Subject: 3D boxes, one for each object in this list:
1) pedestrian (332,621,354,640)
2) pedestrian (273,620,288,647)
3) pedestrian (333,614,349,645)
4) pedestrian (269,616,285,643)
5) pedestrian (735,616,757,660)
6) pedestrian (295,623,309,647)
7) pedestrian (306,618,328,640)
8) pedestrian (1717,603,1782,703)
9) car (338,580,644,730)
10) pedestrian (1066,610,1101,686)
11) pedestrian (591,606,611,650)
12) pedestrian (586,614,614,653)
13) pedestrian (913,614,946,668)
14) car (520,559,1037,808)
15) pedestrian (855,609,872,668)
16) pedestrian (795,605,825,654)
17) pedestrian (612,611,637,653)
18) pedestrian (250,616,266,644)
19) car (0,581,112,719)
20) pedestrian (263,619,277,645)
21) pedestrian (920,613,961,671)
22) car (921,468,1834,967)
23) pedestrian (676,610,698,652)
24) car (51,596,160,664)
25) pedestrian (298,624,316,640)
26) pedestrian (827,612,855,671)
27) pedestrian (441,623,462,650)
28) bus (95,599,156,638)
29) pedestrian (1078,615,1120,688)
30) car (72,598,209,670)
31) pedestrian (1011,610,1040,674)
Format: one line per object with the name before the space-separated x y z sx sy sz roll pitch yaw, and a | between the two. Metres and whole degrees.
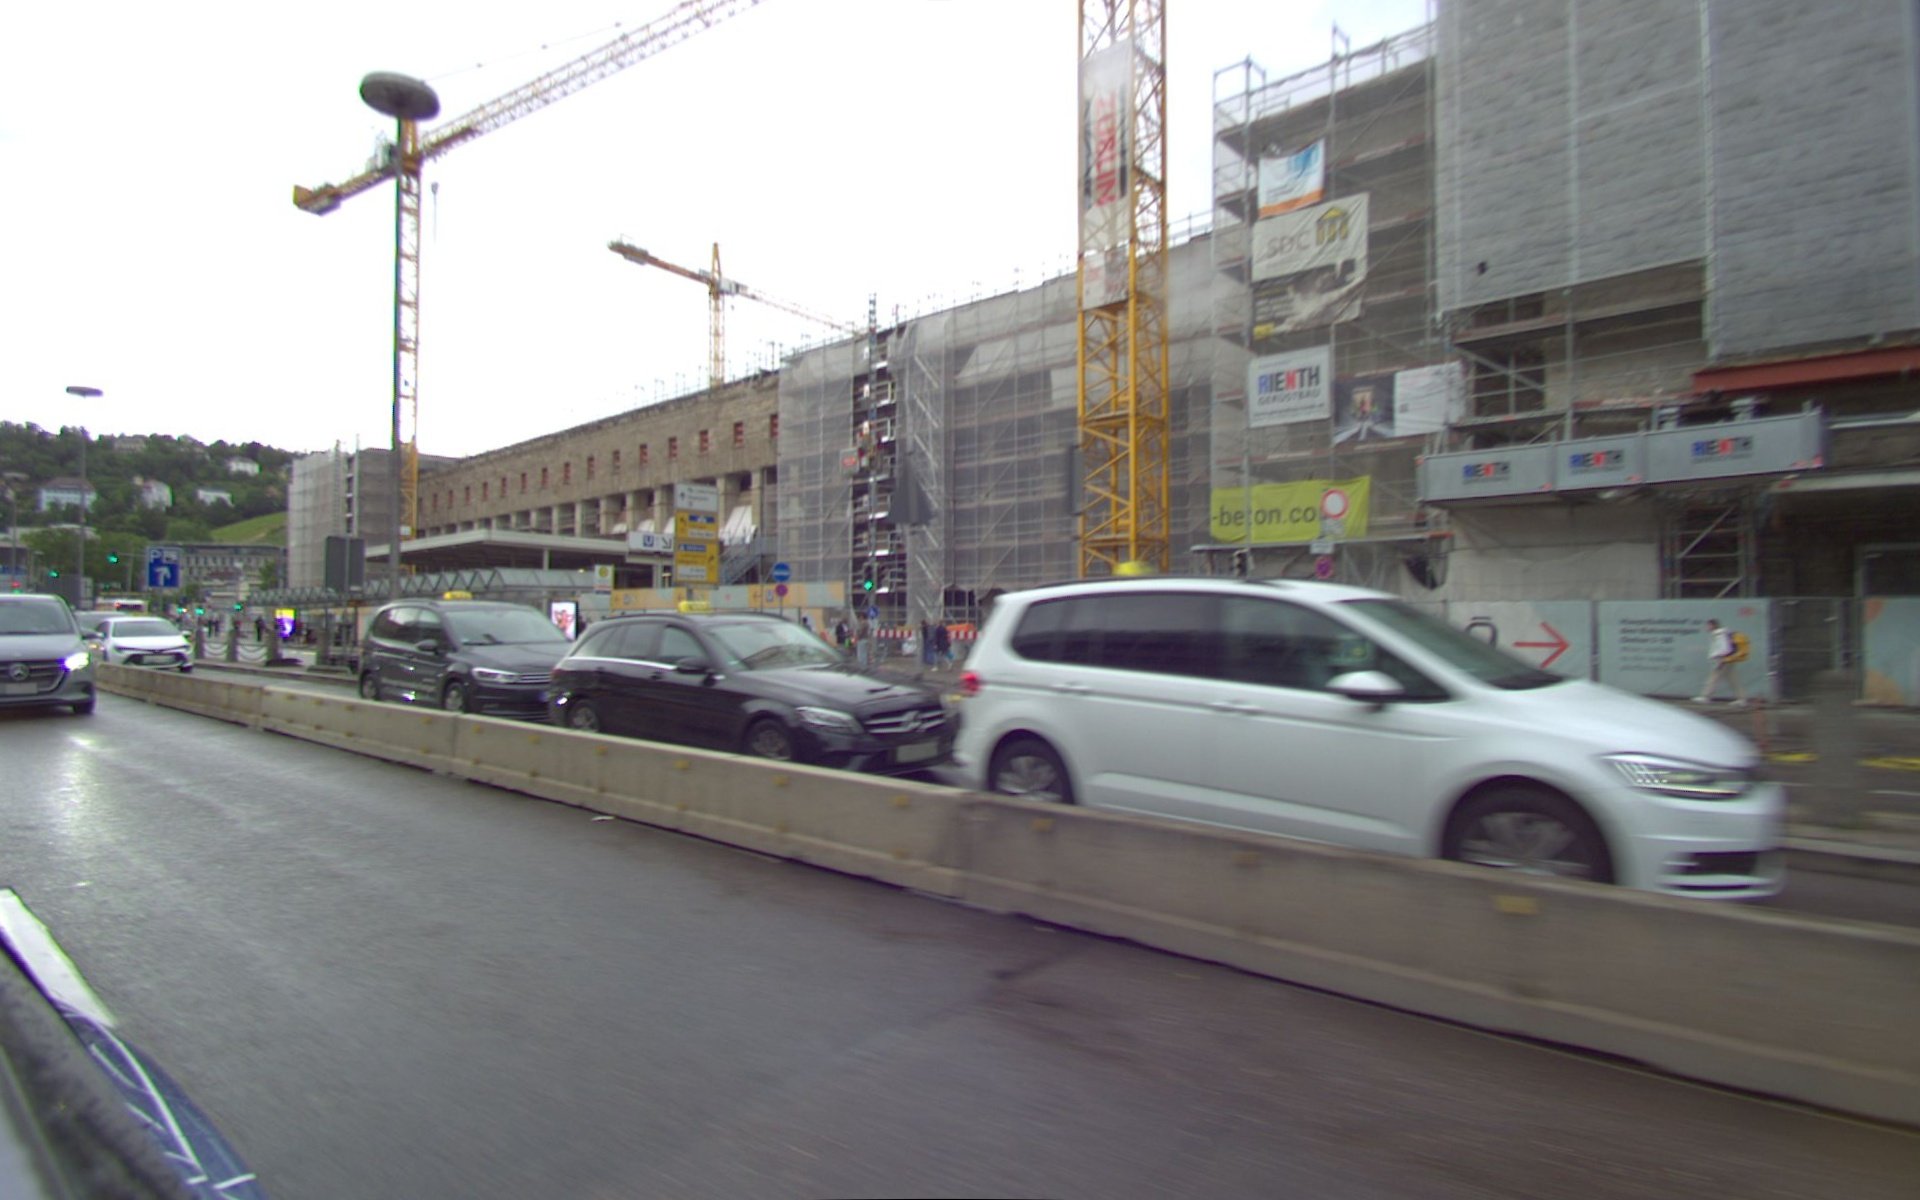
pedestrian | -39.086 1.910 64.099 1.055 1.167 0.939 -1 -1 43
pedestrian | -45.544 2.225 67.837 0.765 1.804 0.862 0 -1 -40
pedestrian | -36.799 1.760 60.130 0.549 1.862 0.678 0 -1 -2
pedestrian | -47.462 2.043 70.291 0.746 1.804 0.717 -1 -1 37
pedestrian | -9.051 1.599 42.764 0.713 1.855 0.612 0 -1 -44
pedestrian | -46.303 2.443 71.189 0.803 1.642 0.551 -1 -1 34
pedestrian | -42.691 1.919 67.234 0.830 1.443 1.044 -1 -1 41
pedestrian | 14.963 0.983 19.203 0.831 1.855 0.766 -1 -1 28
car | -6.363 0.644 13.490 4.639 1.666 1.973 -1 -1 41
pedestrian | 3.085 1.189 25.276 0.703 1.855 0.503 -1 -1 36
pedestrian | -15.223 1.193 42.928 0.734 1.855 0.704 0 -1 -28
pedestrian | -17.582 1.605 49.439 1.045 1.855 0.848 -1 1 42
pedestrian | -1.068 1.421 35.437 0.793 1.855 0.851 0 -1 -44
car | -1.914 0.613 9.456 5.052 1.724 2.028 -1 -1 41
pedestrian | -3.071 1.220 32.259 0.334 1.855 0.511 0 -1 -32
pedestrian | -5.805 1.142 39.157 0.793 1.855 0.869 0 -1 -44
pedestrian | -15.903 1.521 47.990 0.863 1.954 0.735 -1 1 39
pedestrian | -50.162 2.102 72.357 0.822 1.973 0.751 0 -1 40
car | -15.266 0.716 16.034 5.247 1.918 1.973 -1 0 41
pedestrian | -48.572 2.245 71.239 0.803 1.804 0.551 -1 -1 34
pedestrian | -0.630 1.359 33.074 0.829 1.855 1.059 0 -1 -44
car | 2.075 0.455 5.861 4.450 1.800 1.973 -1 -1 40
pedestrian | -12.279 1.378 45.512 0.733 1.855 0.657 0 -1 -44
car | -25.595 0.863 30.255 4.833 1.876 1.971 -1 -2 44
pedestrian | -44.219 2.165 68.546 0.925 1.101 0.835 -1 -1 41
pedestrian | -3.822 1.328 32.471 0.692 1.855 0.880 0 -1 -19
pedestrian | -25.809 1.857 51.343 0.805 1.336 0.692 -1 -1 41
bus | -84.110 1.806 101.816 2.876 3.605 19.088 2 -2 -45
pedestrian | 3.613 1.314 26.254 0.835 1.855 0.869 -1 -1 28
car | -21.658 0.856 26.670 4.829 1.719 1.973 -1 -1 41
pedestrian | 1.948 1.235 30.134 0.701 1.855 0.567 -1 -1 28
